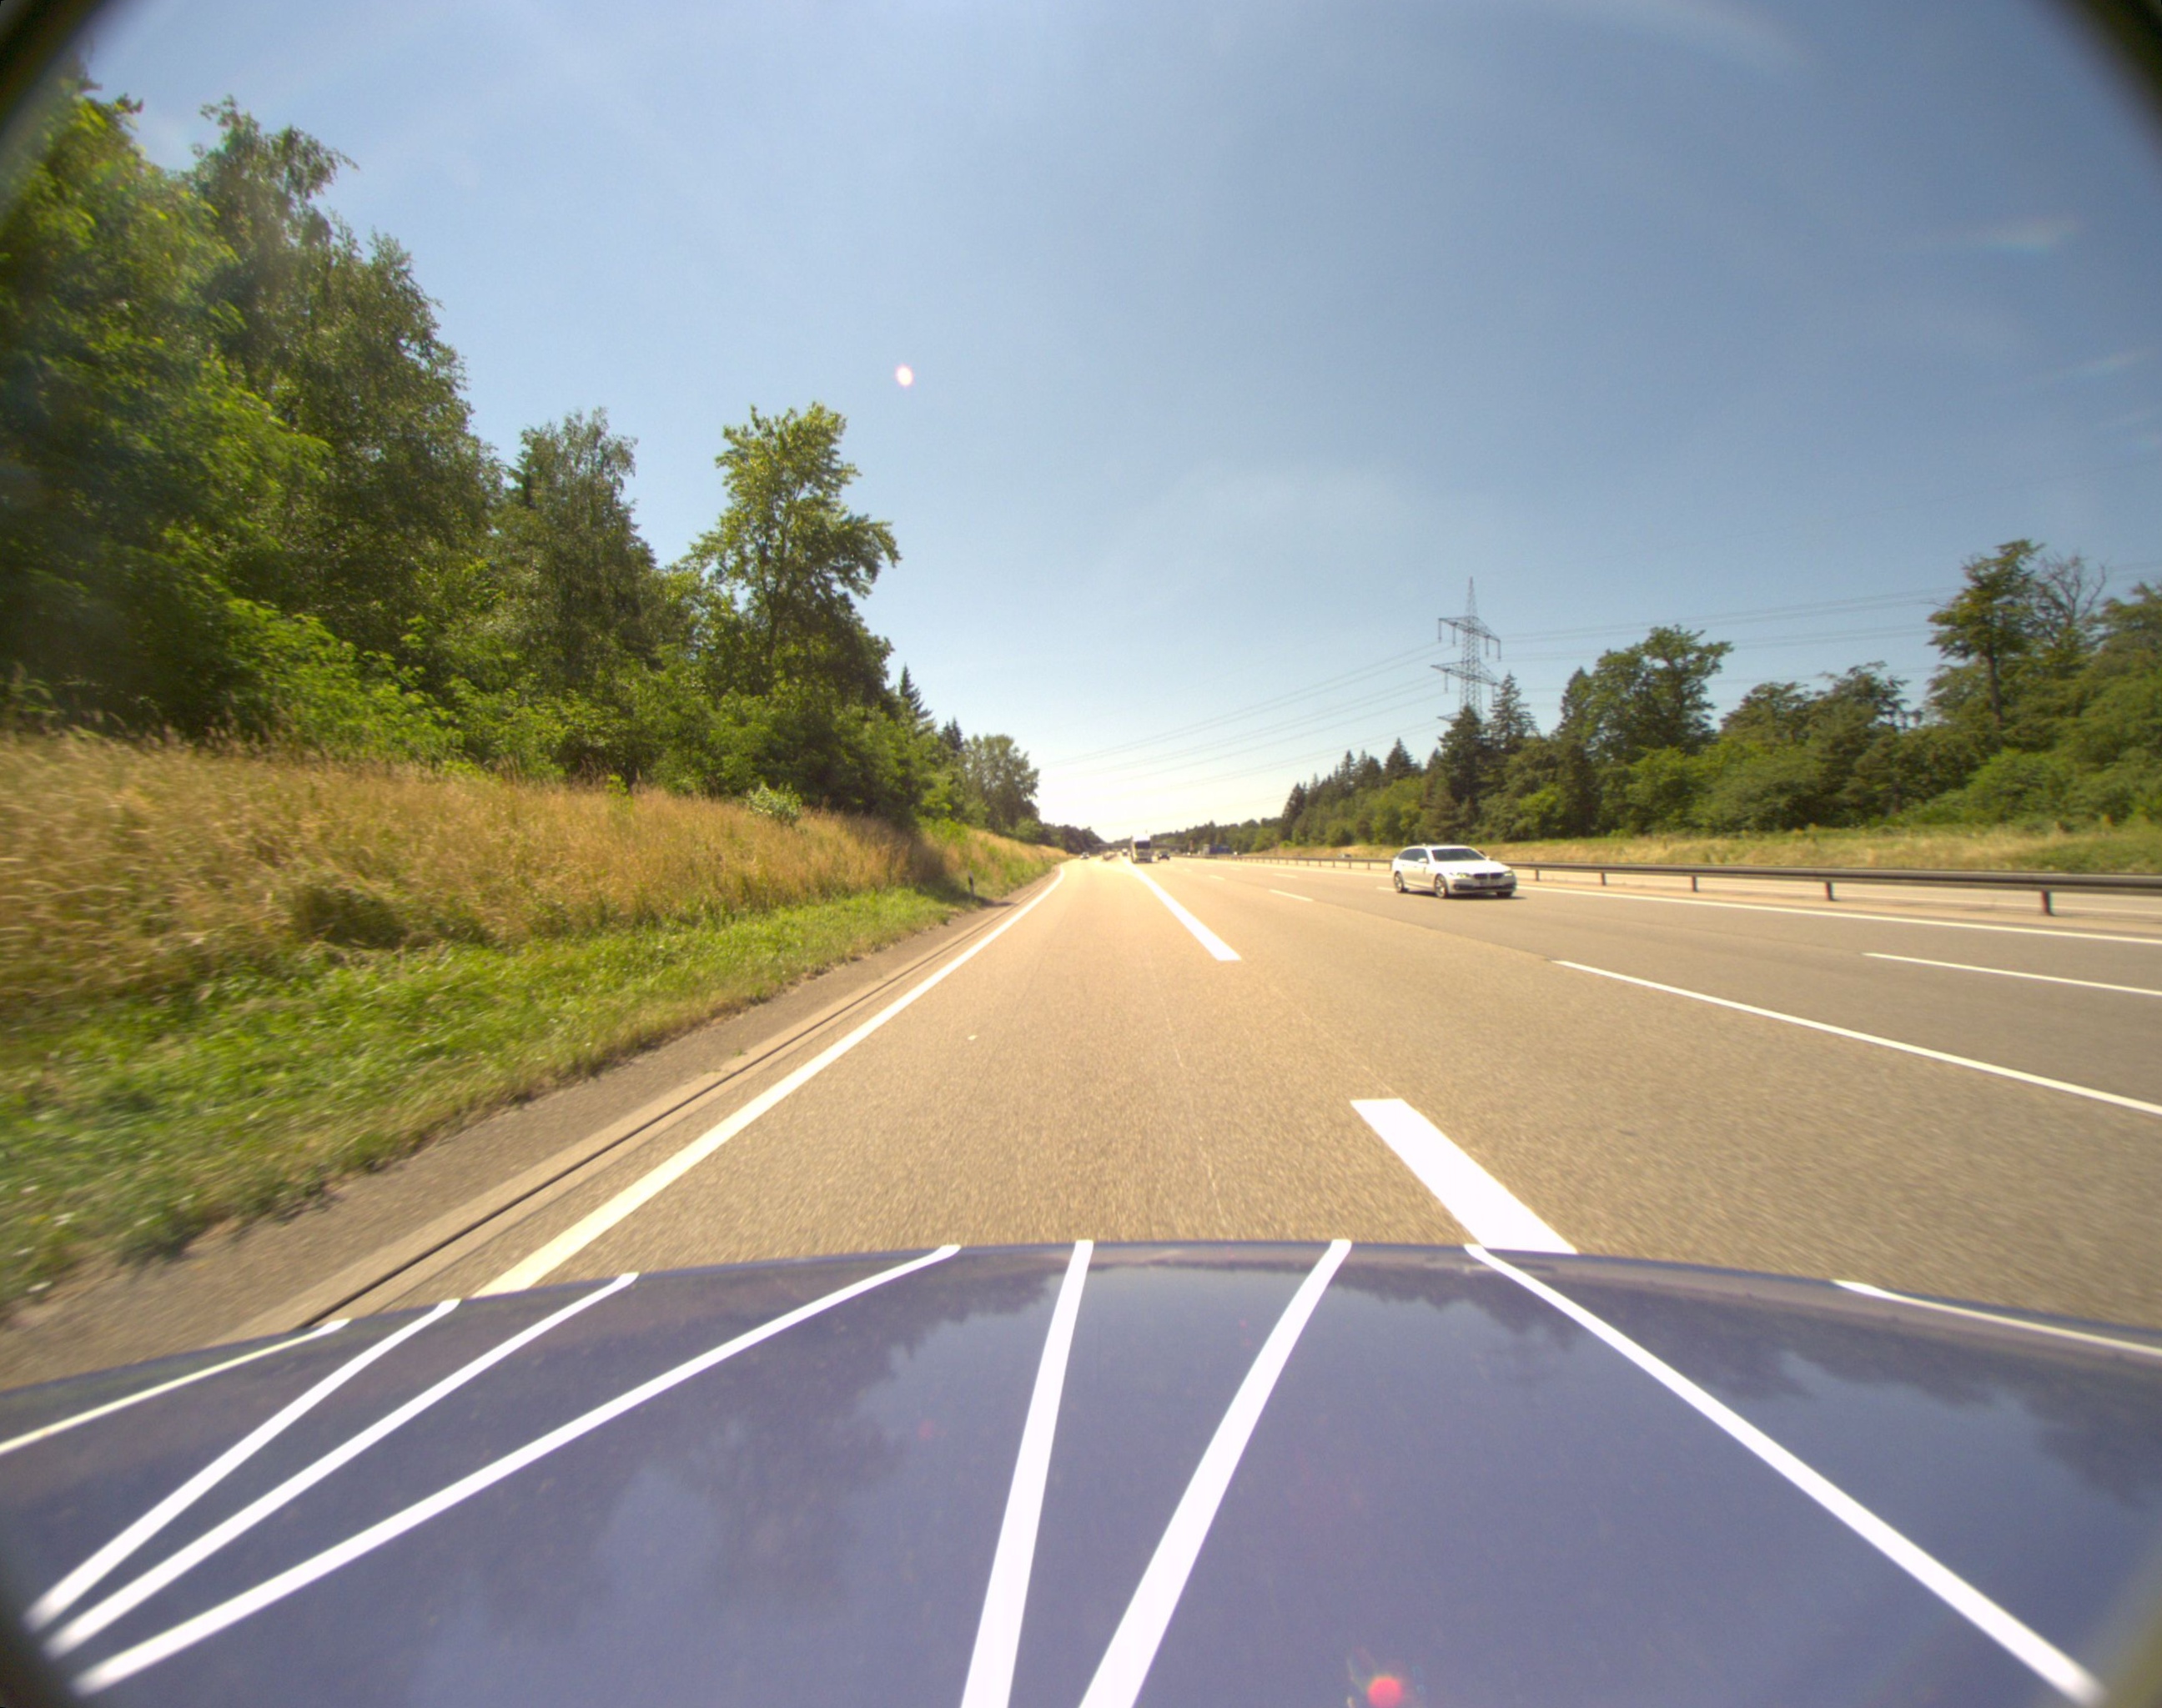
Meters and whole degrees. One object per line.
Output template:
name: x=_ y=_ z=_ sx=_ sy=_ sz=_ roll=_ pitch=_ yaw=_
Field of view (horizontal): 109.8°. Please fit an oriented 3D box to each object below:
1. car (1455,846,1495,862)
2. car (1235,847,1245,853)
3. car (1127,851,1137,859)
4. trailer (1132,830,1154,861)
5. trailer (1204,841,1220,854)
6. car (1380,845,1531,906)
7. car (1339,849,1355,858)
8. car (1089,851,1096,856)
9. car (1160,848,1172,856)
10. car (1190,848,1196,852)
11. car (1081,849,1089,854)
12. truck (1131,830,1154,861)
car: x=38.045 y=0.001 z=73.570 sx=1.793 sy=1.412 sz=4.436 roll=-2 pitch=1 yaw=4
car: x=33.947 y=-0.892 z=162.133 sx=1.566 sy=1.348 sz=3.567 roll=-1 pitch=0 yaw=3
car: x=10.287 y=0.228 z=152.389 sx=1.898 sy=1.417 sz=4.262 roll=-2 pitch=0 yaw=5
trailer: x=8.938 y=-1.202 z=109.515 sx=2.981 sy=4.118 sz=11.699 roll=-1 pitch=0 yaw=5
trailer: x=41.482 y=-2.126 z=241.287 sx=3.210 sy=4.148 sz=13.984 roll=0 pitch=1 yaw=2
car: x=10.696 y=0.531 z=22.232 sx=1.968 sy=1.495 sz=5.405 roll=-2 pitch=1 yaw=3
car: x=44.398 y=-0.102 z=126.777 sx=1.625 sy=1.469 sz=3.567 roll=-1 pitch=0 yaw=3
car: x=3.749 y=-0.091 z=239.737 sx=1.898 sy=1.417 sz=4.262 roll=-2 pitch=0 yaw=5
car: x=15.097 y=-0.360 z=135.268 sx=1.898 sy=1.417 sz=4.262 roll=-2 pitch=0 yaw=5
car: x=38.644 y=-1.261 z=262.023 sx=1.765 sy=1.395 sz=4.434 roll=0 pitch=0 yaw=2
car: x=1.153 y=-0.769 z=211.619 sx=1.898 sy=1.417 sz=4.262 roll=-2 pitch=0 yaw=5
truck: x=8.450 y=-1.159 z=103.952 sx=2.979 sy=4.118 sz=5.350 roll=-1 pitch=0 yaw=5
